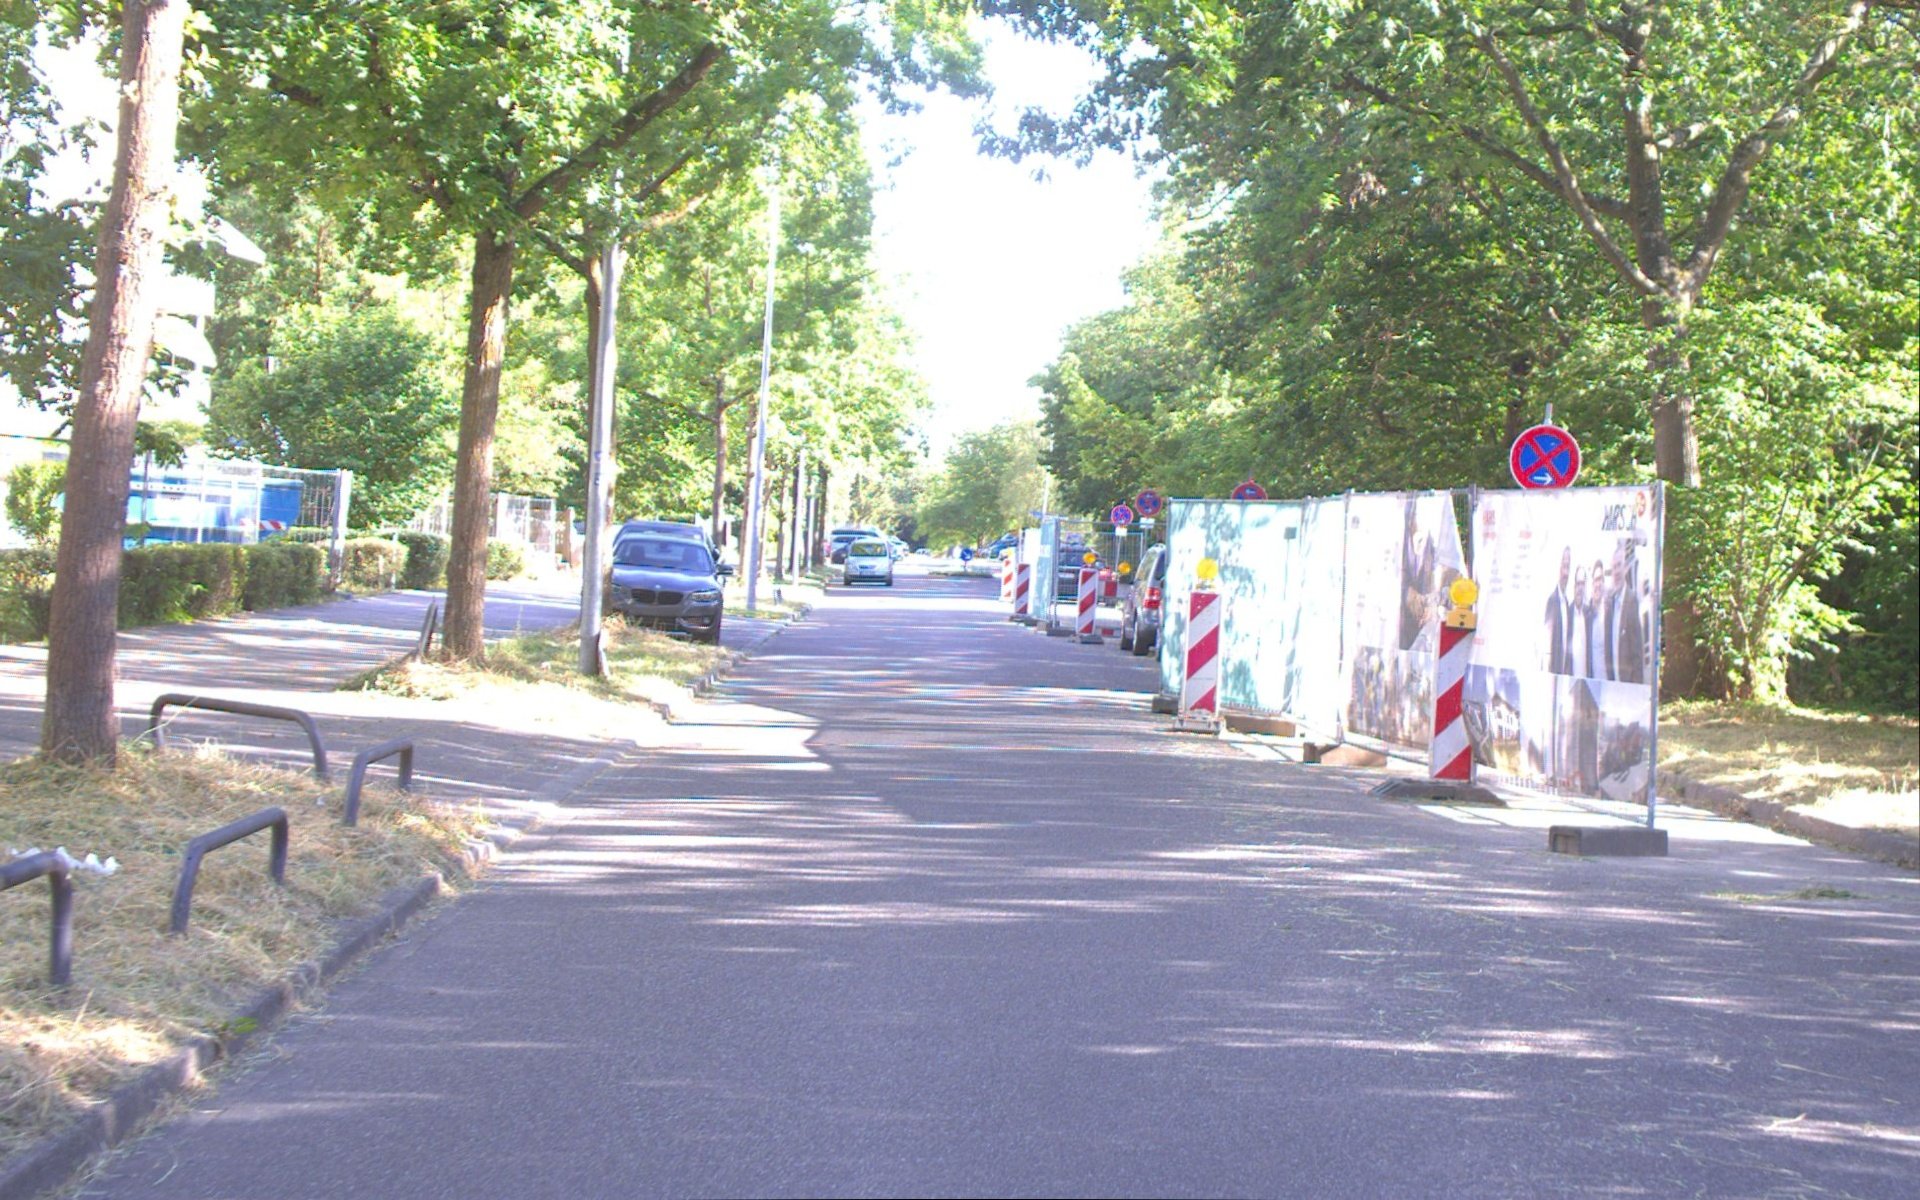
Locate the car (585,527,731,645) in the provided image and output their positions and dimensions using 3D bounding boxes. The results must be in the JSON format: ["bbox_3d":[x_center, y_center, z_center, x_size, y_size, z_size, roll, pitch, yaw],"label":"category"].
[{"bbox_3d":[-4.111,-0.215,47.296,1.750,1.473,3.837,3,1,-2],"label":"car"}]

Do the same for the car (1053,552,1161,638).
[{"bbox_3d":[2.418,-0.091,57.109,1.361,1.298,3.482,4,0,-3],"label":"car"}]

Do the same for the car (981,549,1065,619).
[{"bbox_3d":[1.273,-0.330,70.060,1.361,1.298,3.482,4,0,-3],"label":"car"}]

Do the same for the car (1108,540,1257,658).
[{"bbox_3d":[3.281,-0.045,51.213,1.753,1.590,3.658,3,1,-2],"label":"car"}]

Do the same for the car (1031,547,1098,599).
[{"bbox_3d":[3.027,-0.799,100.039,1.794,1.405,4.000,3,1,1],"label":"car"}]

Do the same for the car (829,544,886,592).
[{"bbox_3d":[-3.656,-1.140,122.358,1.710,1.579,4.001,4,0,-5],"label":"car"}]

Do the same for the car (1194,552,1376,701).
[{"bbox_3d":[3.498,0.256,37.481,1.500,1.473,3.059,3,1,-2],"label":"car"}]

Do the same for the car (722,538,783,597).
[{"bbox_3d":[-4.976,-0.779,82.517,1.361,1.298,3.482,4,0,-3],"label":"car"}]
